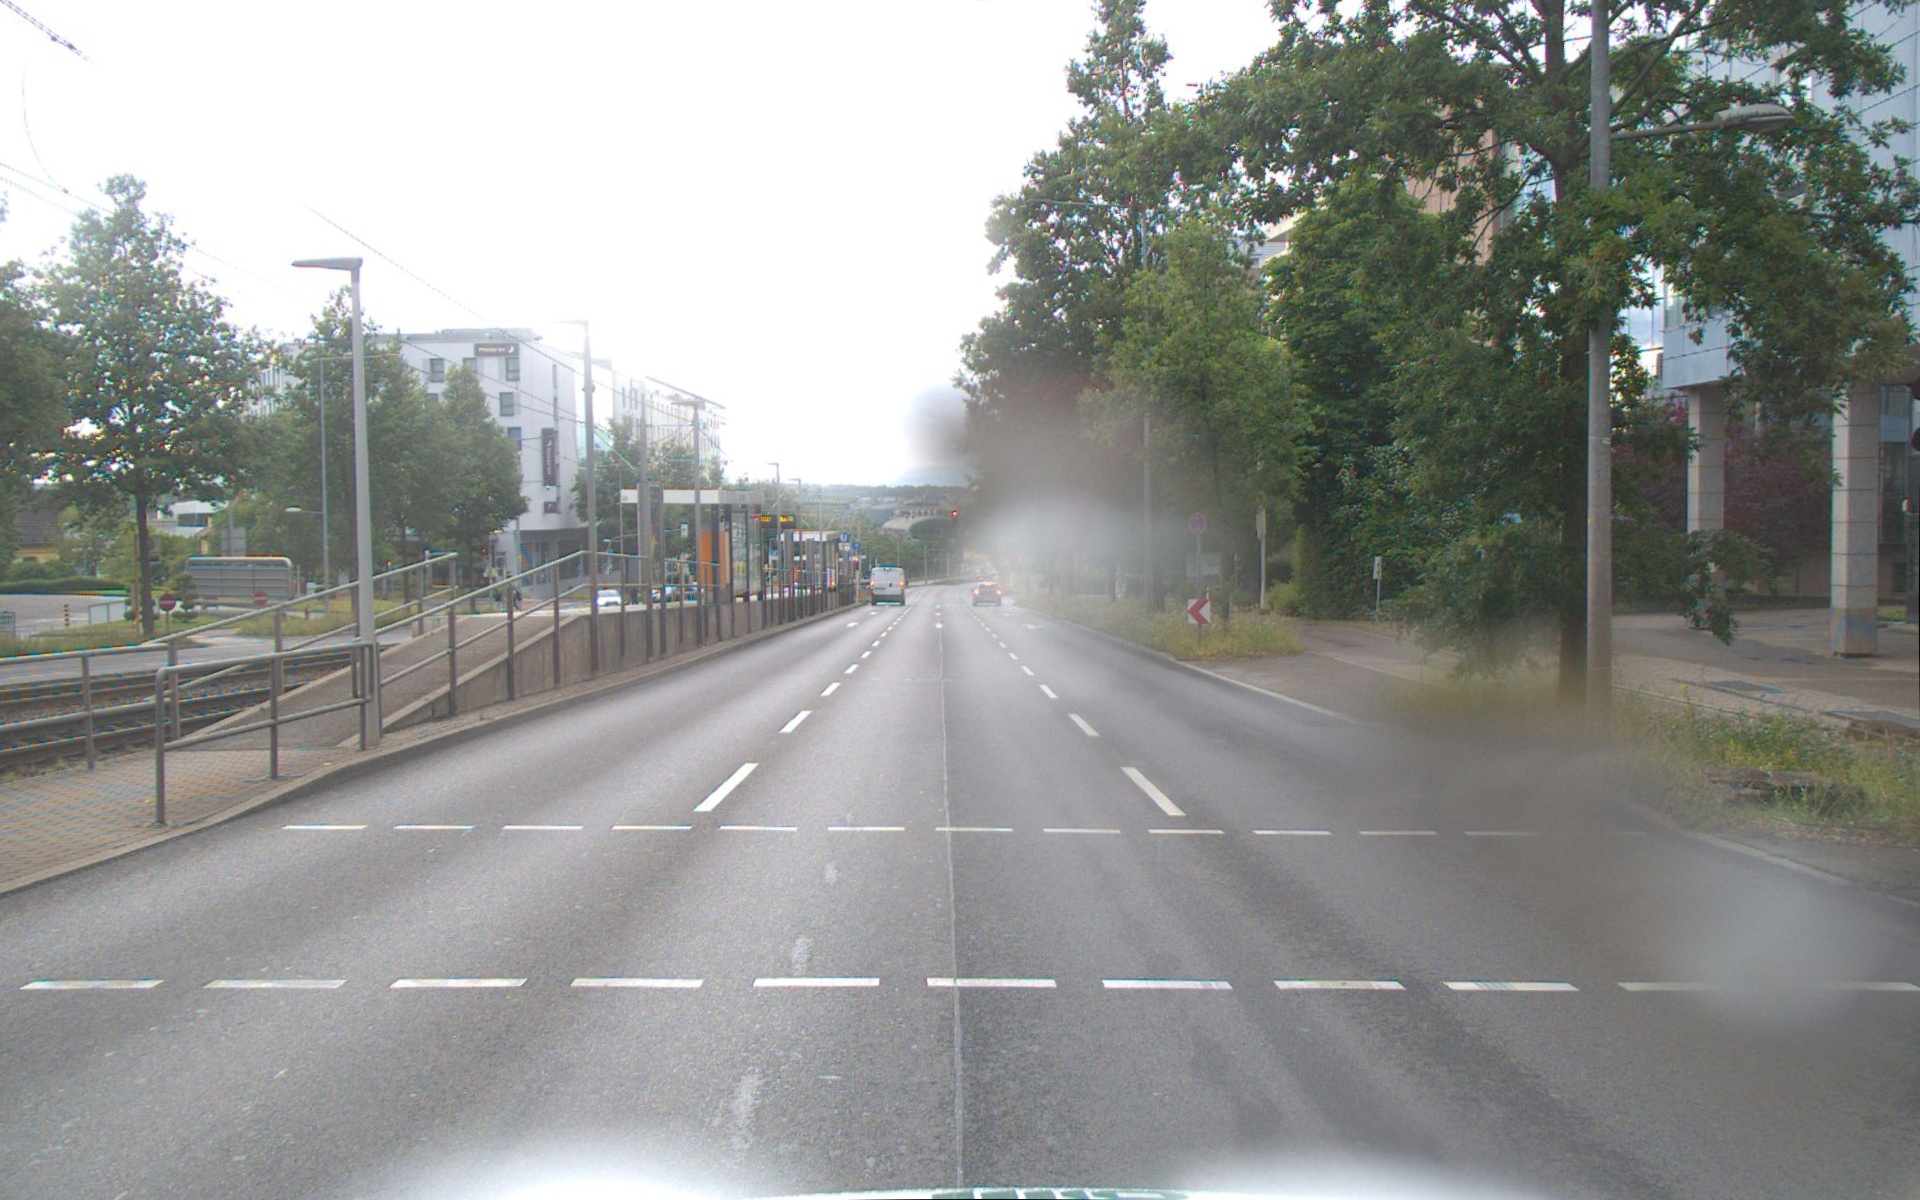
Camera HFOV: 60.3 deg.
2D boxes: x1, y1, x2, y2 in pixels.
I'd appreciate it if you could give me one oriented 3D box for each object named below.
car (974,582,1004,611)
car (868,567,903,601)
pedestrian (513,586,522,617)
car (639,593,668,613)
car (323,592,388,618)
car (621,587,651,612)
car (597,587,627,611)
[{"bbox_3d":[1.786,-0.233,102.808,1.738,1.720,3.845,0,1,-1],"label":"car"},{"bbox_3d":[-4.571,-0.979,102.374,2.050,2.089,4.605,0,1,-1],"label":"car"},{"bbox_3d":[-28.591,0.091,106.885,0.465,1.954,0.490,0,0,-1],"label":"pedestrian"},{"bbox_3d":[-21.399,0.199,115.586,1.536,1.402,3.517,0,1,-3],"label":"car"},{"bbox_3d":[-34.988,0.279,95.717,3.297,1.411,1.434,0,1,16],"label":"car"},{"bbox_3d":[-20.126,-0.043,102.527,1.622,1.461,3.866,-2,1,-14],"label":"car"},{"bbox_3d":[-22.765,-0.065,108.338,1.620,1.461,3.872,-2,1,-9],"label":"car"}]
